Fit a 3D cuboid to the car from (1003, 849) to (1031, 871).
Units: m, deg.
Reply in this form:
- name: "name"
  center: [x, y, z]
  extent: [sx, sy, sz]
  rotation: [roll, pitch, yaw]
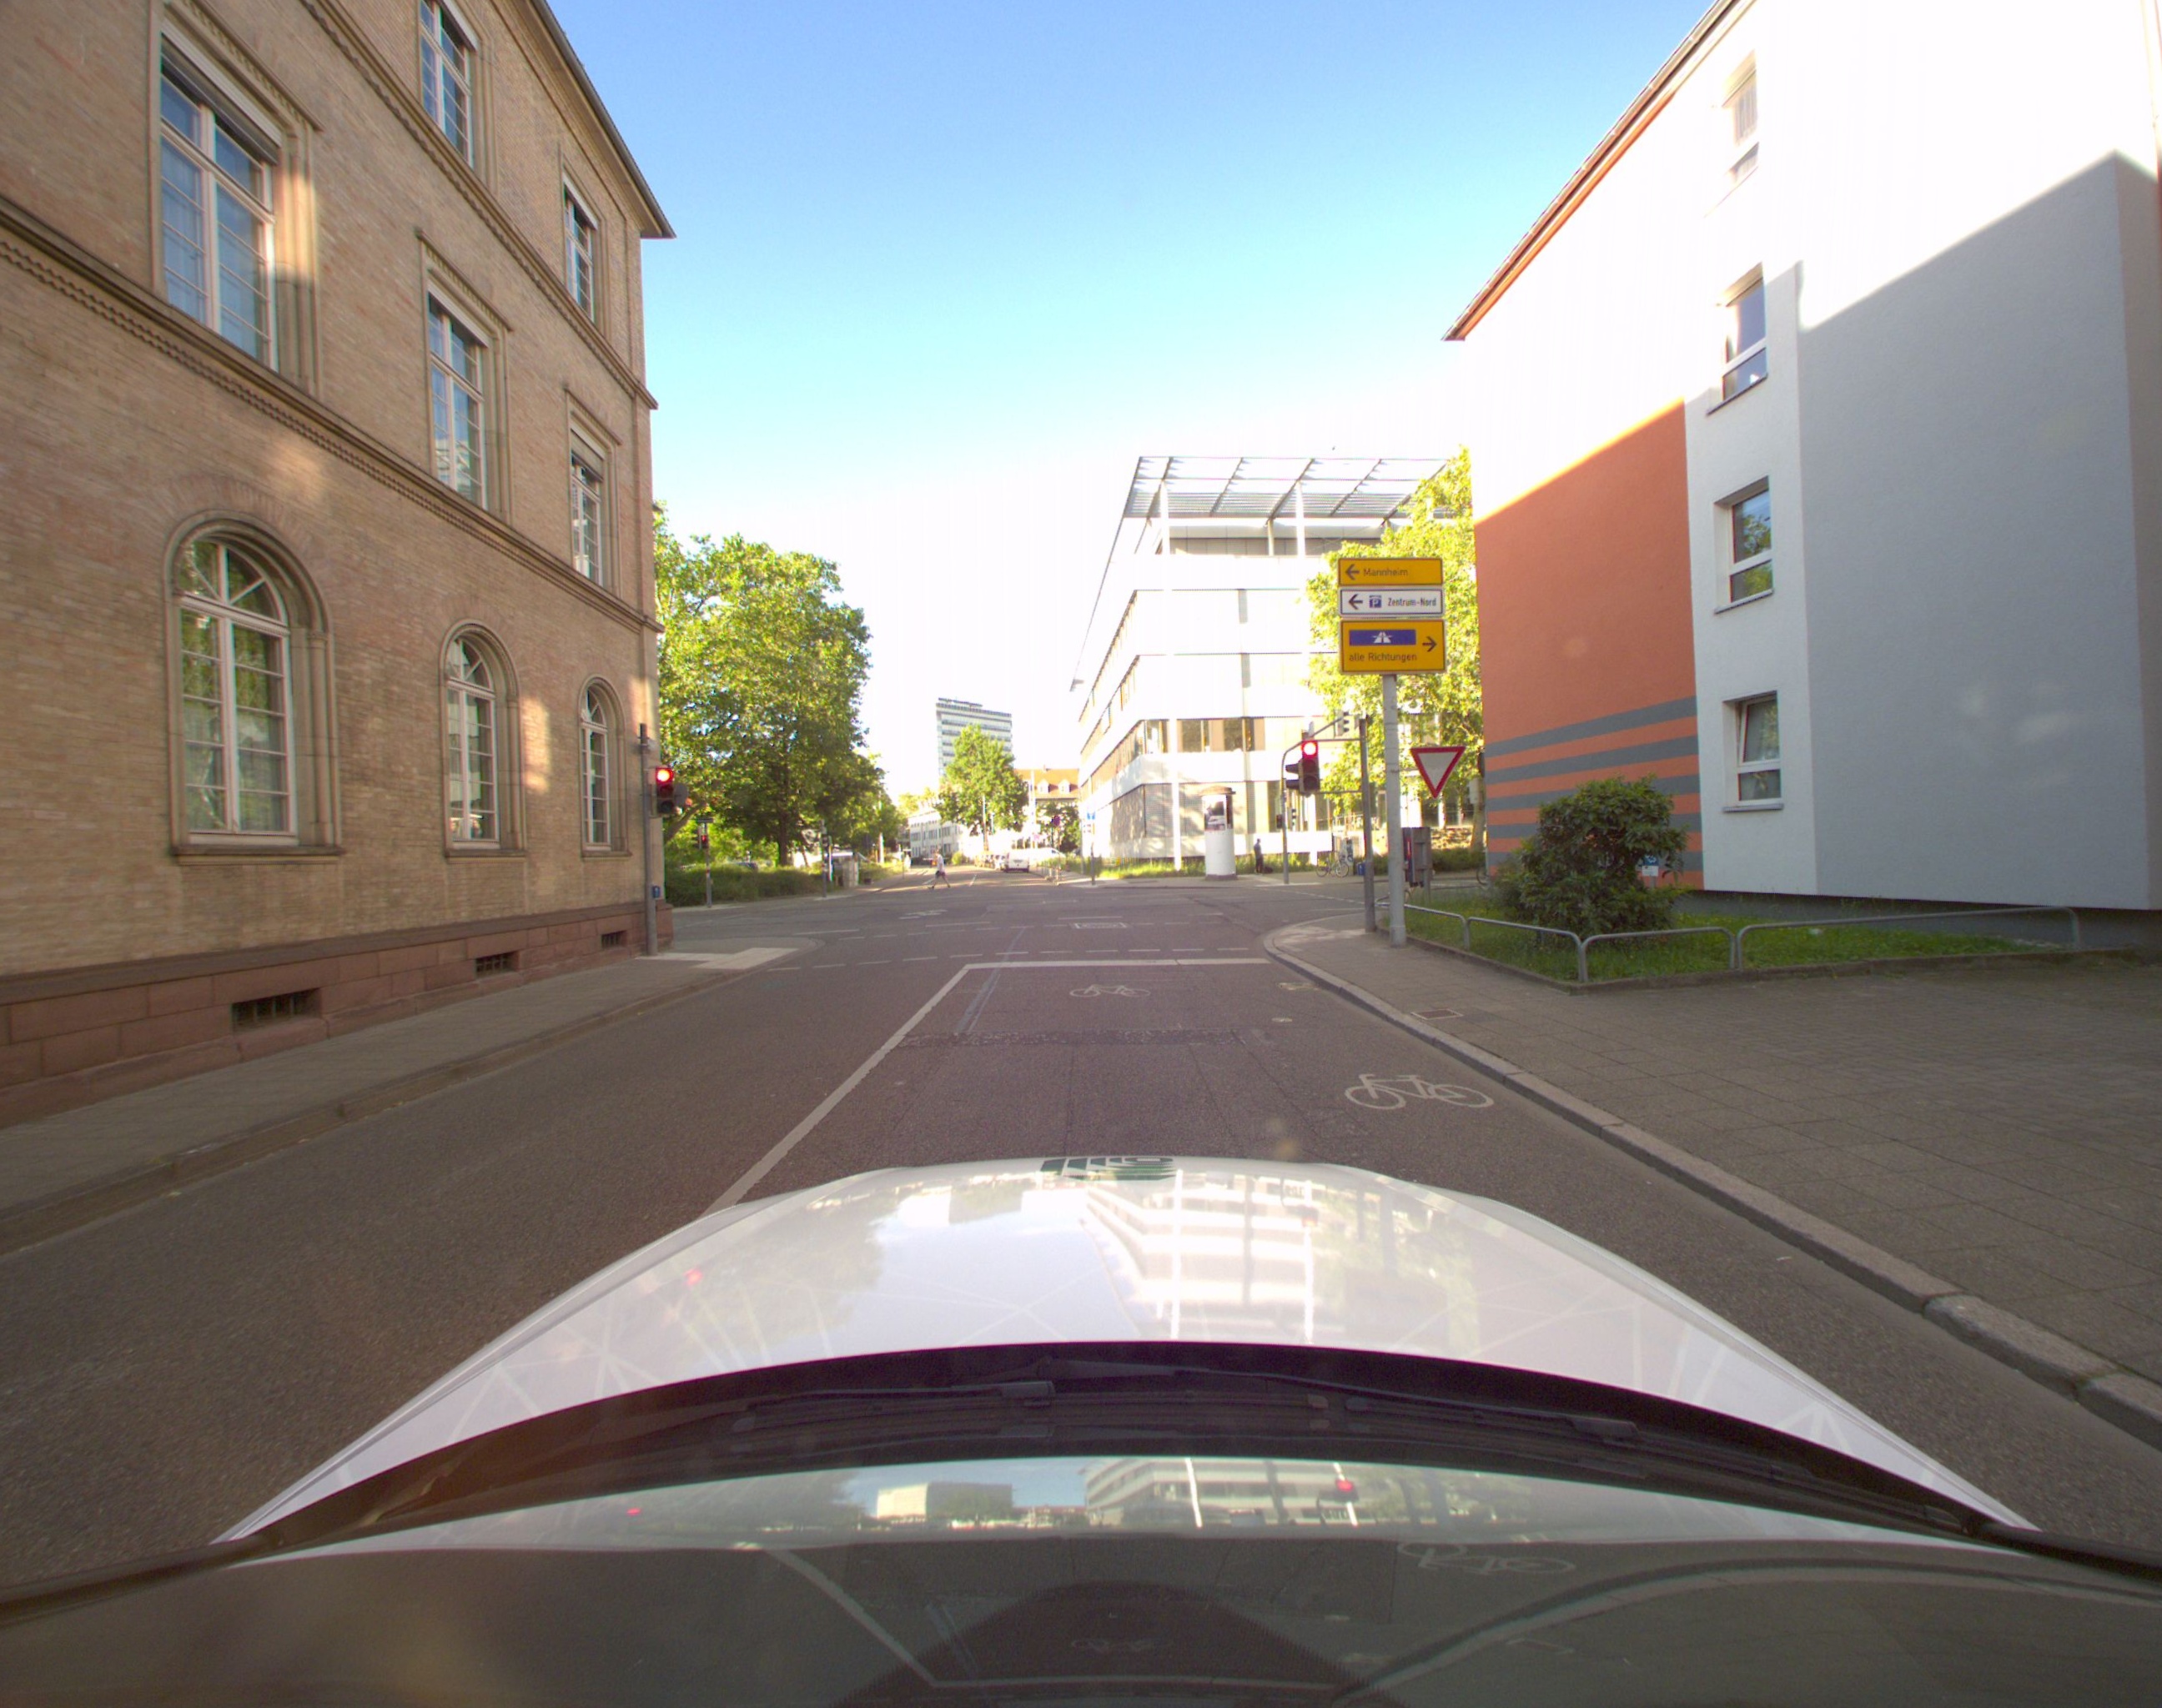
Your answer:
- name: "car"
  center: [-5.169, 0.484, 65.105]
  extent: [1.992, 1.725, 4.640]
  rotation: [0, -1, -7]

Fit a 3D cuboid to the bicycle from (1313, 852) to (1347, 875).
- name: "bicycle"
  center: [11.008, 0.435, 36.013]
  extent: [0.381, 1.008, 1.416]
  rotation: [-2, 0, -40]

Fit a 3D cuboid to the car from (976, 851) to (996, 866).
- name: "car"
  center: [-11.297, 0.564, 96.290]
  extent: [1.995, 1.725, 4.633]
  rotation: [0, -1, -11]

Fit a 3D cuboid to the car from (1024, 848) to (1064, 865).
- name: "car"
  center: [-4.679, 0.304, 103.236]
  extent: [4.802, 2.159, 1.989]
  rotation: [0, -1, -16]

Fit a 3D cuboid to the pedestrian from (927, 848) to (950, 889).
- name: "pedestrian"
  center: [-6.664, 0.671, 38.164]
  extent: [0.911, 1.869, 0.743]
  rotation: [0, -1, 1]

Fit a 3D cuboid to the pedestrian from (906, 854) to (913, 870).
- name: "pedestrian"
  center: [-17.319, 0.836, 82.308]
  extent: [0.700, 1.587, 0.633]
  rotation: [0, -1, -14]

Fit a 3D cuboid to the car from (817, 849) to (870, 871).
- name: "car"
  center: [-22.021, 0.544, 75.756]
  extent: [4.441, 2.014, 1.995]
  rotation: [0, -1, -8]

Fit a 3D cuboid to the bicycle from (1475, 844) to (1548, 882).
- name: "bicycle"
  center: [13.793, 0.283, 26.136]
  extent: [1.953, 1.152, 0.593]
  rotation: [-2, 0, 7]

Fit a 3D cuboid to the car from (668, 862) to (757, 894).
- name: "car"
  center: [-17.082, 1.095, 37.889]
  extent: [3.407, 1.457, 1.646]
  rotation: [0, -1, -8]

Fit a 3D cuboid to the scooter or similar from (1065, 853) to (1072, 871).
- name: "scooter or similar"
  center: [-0.911, 0.596, 58.462]
  extent: [0.436, 1.256, 1.418]
  rotation: [-2, 0, -2]

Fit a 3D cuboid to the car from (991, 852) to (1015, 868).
- name: "car"
  center: [-7.840, 0.607, 81.613]
  extent: [1.994, 1.499, 4.270]
  rotation: [0, -1, -11]

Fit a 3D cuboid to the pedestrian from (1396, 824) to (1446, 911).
- name: "pedestrian"
  center: [7.301, 0.290, 17.492]
  extent: [0.723, 1.810, 0.694]
  rotation: [0, -1, -35]

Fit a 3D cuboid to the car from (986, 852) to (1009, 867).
- name: "car"
  center: [-8.881, 0.614, 86.366]
  extent: [1.994, 1.499, 4.635]
  rotation: [0, -1, -10]

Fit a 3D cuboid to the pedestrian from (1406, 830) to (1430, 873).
- name: "pedestrian"
  center: [14.283, -0.093, 34.531]
  extent: [0.761, 1.795, 0.648]
  rotation: [0, -1, 4]

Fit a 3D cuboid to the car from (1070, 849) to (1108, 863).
- name: "car"
  center: [1.027, 0.289, 104.942]
  extent: [4.644, 1.725, 1.990]
  rotation: [0, -1, -15]

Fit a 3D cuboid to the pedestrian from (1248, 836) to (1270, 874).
- name: "pedestrian"
  center: [8.499, 0.062, 38.928]
  extent: [0.911, 1.815, 0.762]
  rotation: [0, -1, 1]

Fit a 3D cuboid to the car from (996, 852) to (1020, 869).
- name: "car"
  center: [-6.917, 0.629, 77.139]
  extent: [1.993, 1.499, 4.638]
  rotation: [0, -1, -8]

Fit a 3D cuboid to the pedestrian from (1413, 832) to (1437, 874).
- name: "pedestrian"
  center: [14.281, -0.046, 33.814]
  extent: [0.761, 1.719, 0.648]
  rotation: [0, -1, 4]
